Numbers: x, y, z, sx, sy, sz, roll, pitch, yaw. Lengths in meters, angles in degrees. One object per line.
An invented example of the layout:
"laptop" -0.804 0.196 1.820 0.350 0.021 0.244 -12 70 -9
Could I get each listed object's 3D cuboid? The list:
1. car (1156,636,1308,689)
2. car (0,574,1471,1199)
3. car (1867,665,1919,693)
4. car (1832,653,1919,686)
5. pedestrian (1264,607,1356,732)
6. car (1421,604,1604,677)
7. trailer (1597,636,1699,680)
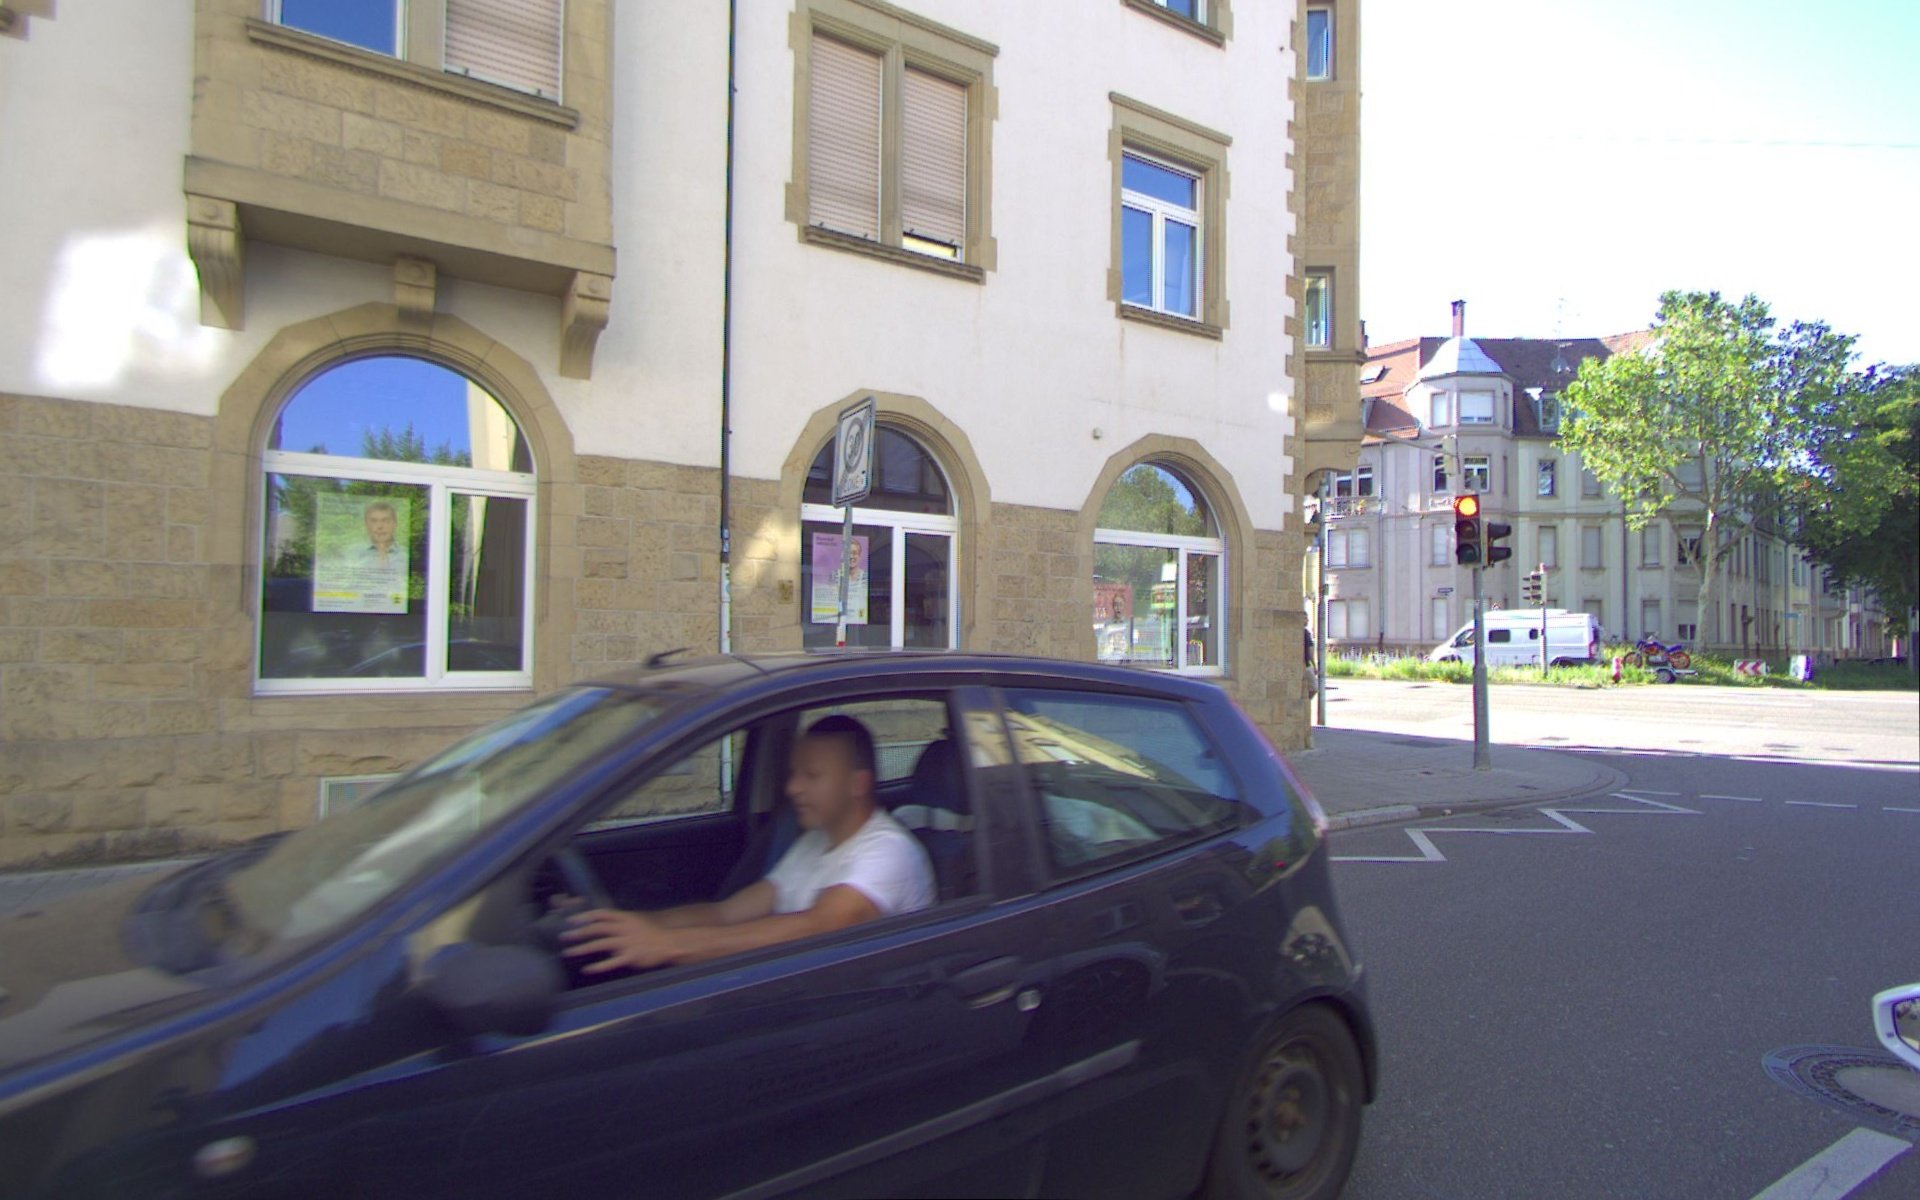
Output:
"car" 8.197 1.836 30.439 4.155 1.476 1.669 -2 -2 42
"car" -0.480 0.761 2.497 3.607 1.476 1.641 2 -2 -35
"car" 53.835 4.503 56.905 1.647 1.476 3.595 2 -2 -44
"car" 45.453 3.411 49.505 1.647 1.476 3.595 2 -2 -44
"pedestrian" 5.509 1.084 15.831 0.743 1.872 1.056 6 -3 -42
"car" 21.590 1.542 39.460 6.040 2.672 1.886 -1 -2 42
"trailer" 24.944 2.077 36.444 2.914 1.476 1.506 -1 -2 42
